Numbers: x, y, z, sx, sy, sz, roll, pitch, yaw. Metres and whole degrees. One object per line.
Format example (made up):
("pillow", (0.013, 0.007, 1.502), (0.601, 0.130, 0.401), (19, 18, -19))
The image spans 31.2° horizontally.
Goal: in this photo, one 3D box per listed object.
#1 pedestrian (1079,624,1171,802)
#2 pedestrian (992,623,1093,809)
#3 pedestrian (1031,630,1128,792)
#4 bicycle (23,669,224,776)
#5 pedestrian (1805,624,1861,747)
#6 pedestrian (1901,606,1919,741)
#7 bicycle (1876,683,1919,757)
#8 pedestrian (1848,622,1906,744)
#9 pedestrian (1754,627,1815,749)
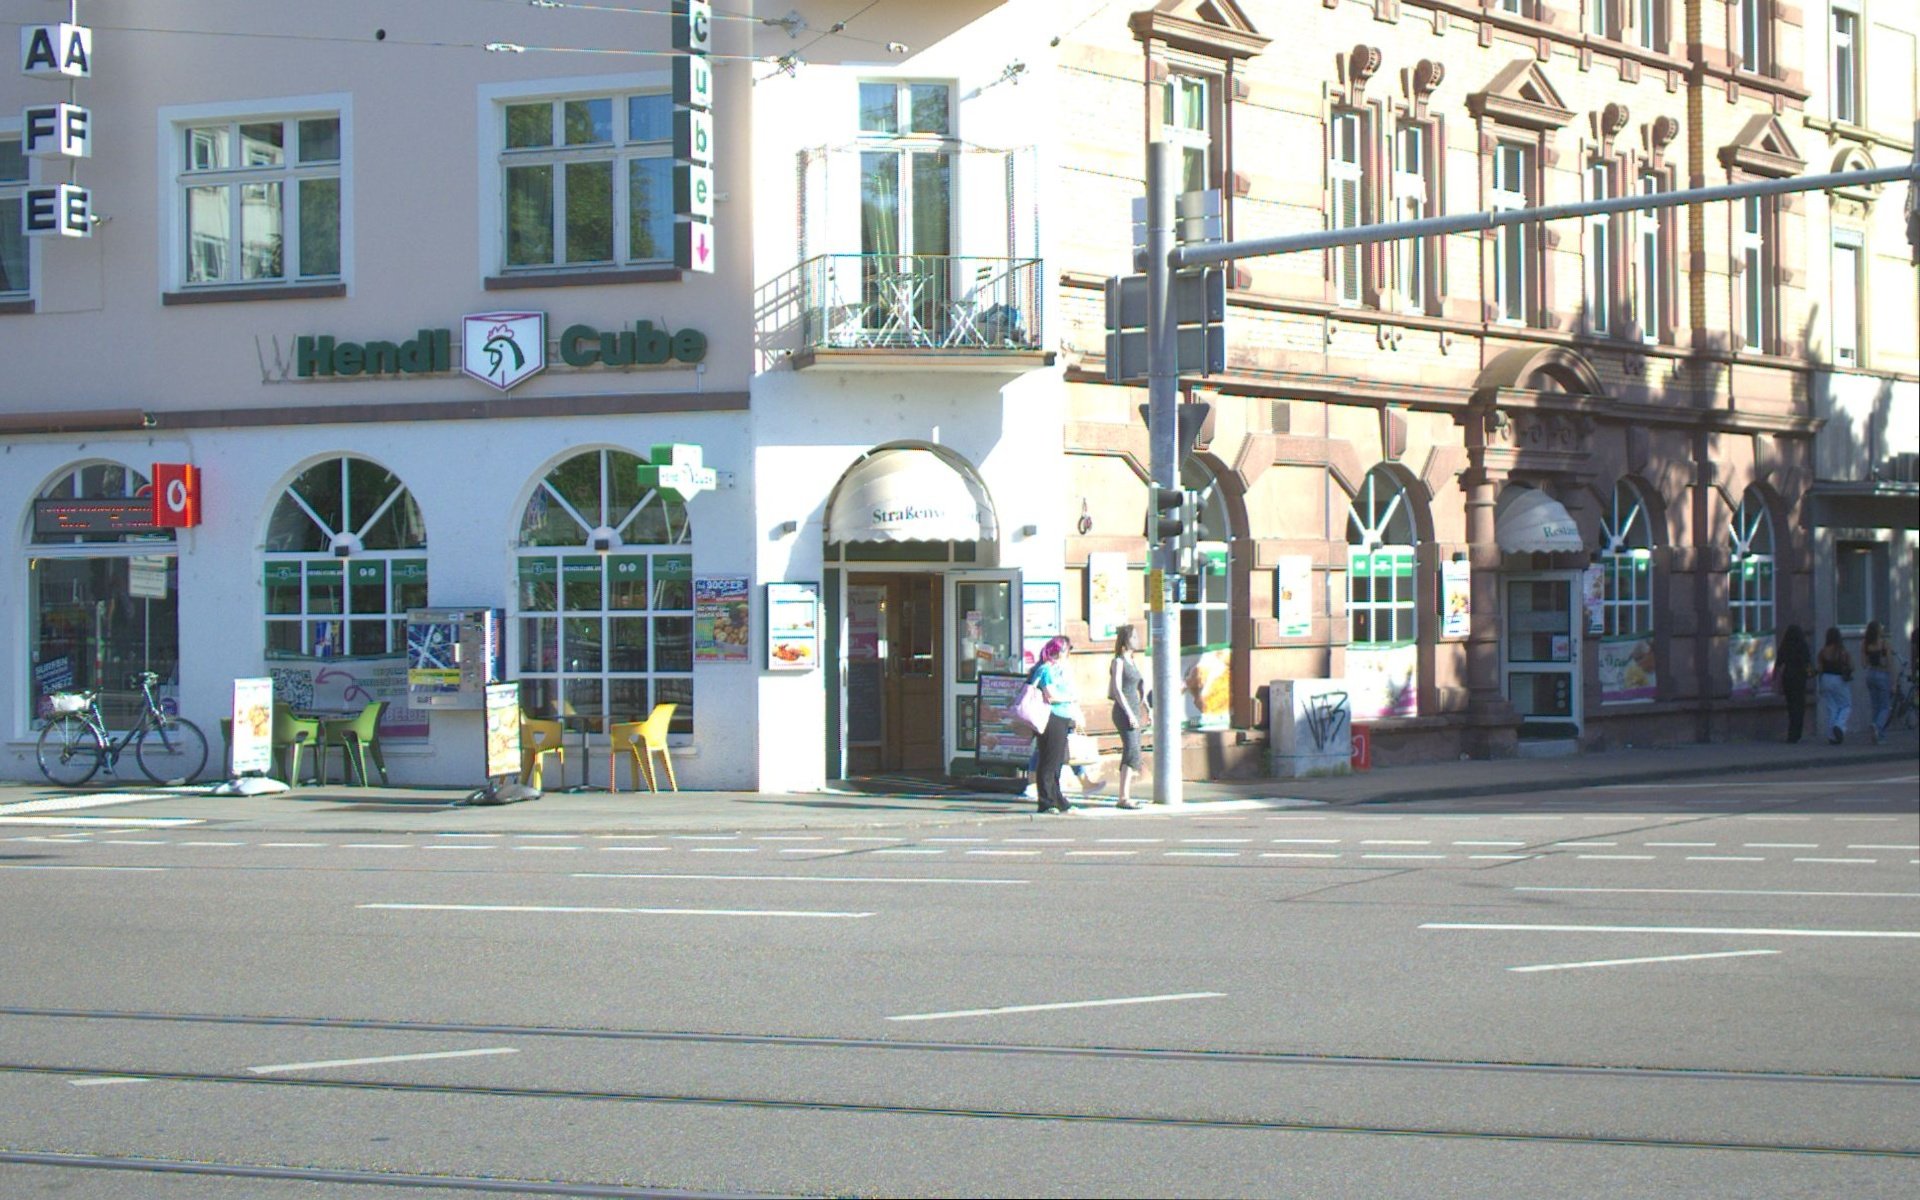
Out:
("pedestrian", (1.534, 1.047, 32.016), (0.632, 1.636, 0.551), (-2, -1, 35))
("pedestrian", (0.735, 1.027, 30.711), (0.676, 1.636, 0.577), (-2, -1, 35))
("pedestrian", (1.139, 1.057, 32.909), (0.657, 1.519, 0.695), (0, -1, -25))
("bicycle", (-8.549, 1.254, 35.143), (1.944, 1.063, 0.583), (-1, -1, 15))
("pedestrian", (11.755, 1.146, 46.288), (0.551, 1.636, 0.536), (-2, -1, 32))
("pedestrian", (13.188, 0.995, 46.659), (0.581, 1.830, 0.631), (-2, -1, 37))
("bicycle", (14.161, 1.764, 50.906), (0.496, 1.063, 1.766), (-2, -1, 38))
("pedestrian", (12.427, 1.124, 46.583), (0.551, 1.636, 0.632), (-2, -1, 33))
("pedestrian", (11.163, 1.194, 46.546), (0.628, 1.636, 0.536), (-2, -1, 33))
